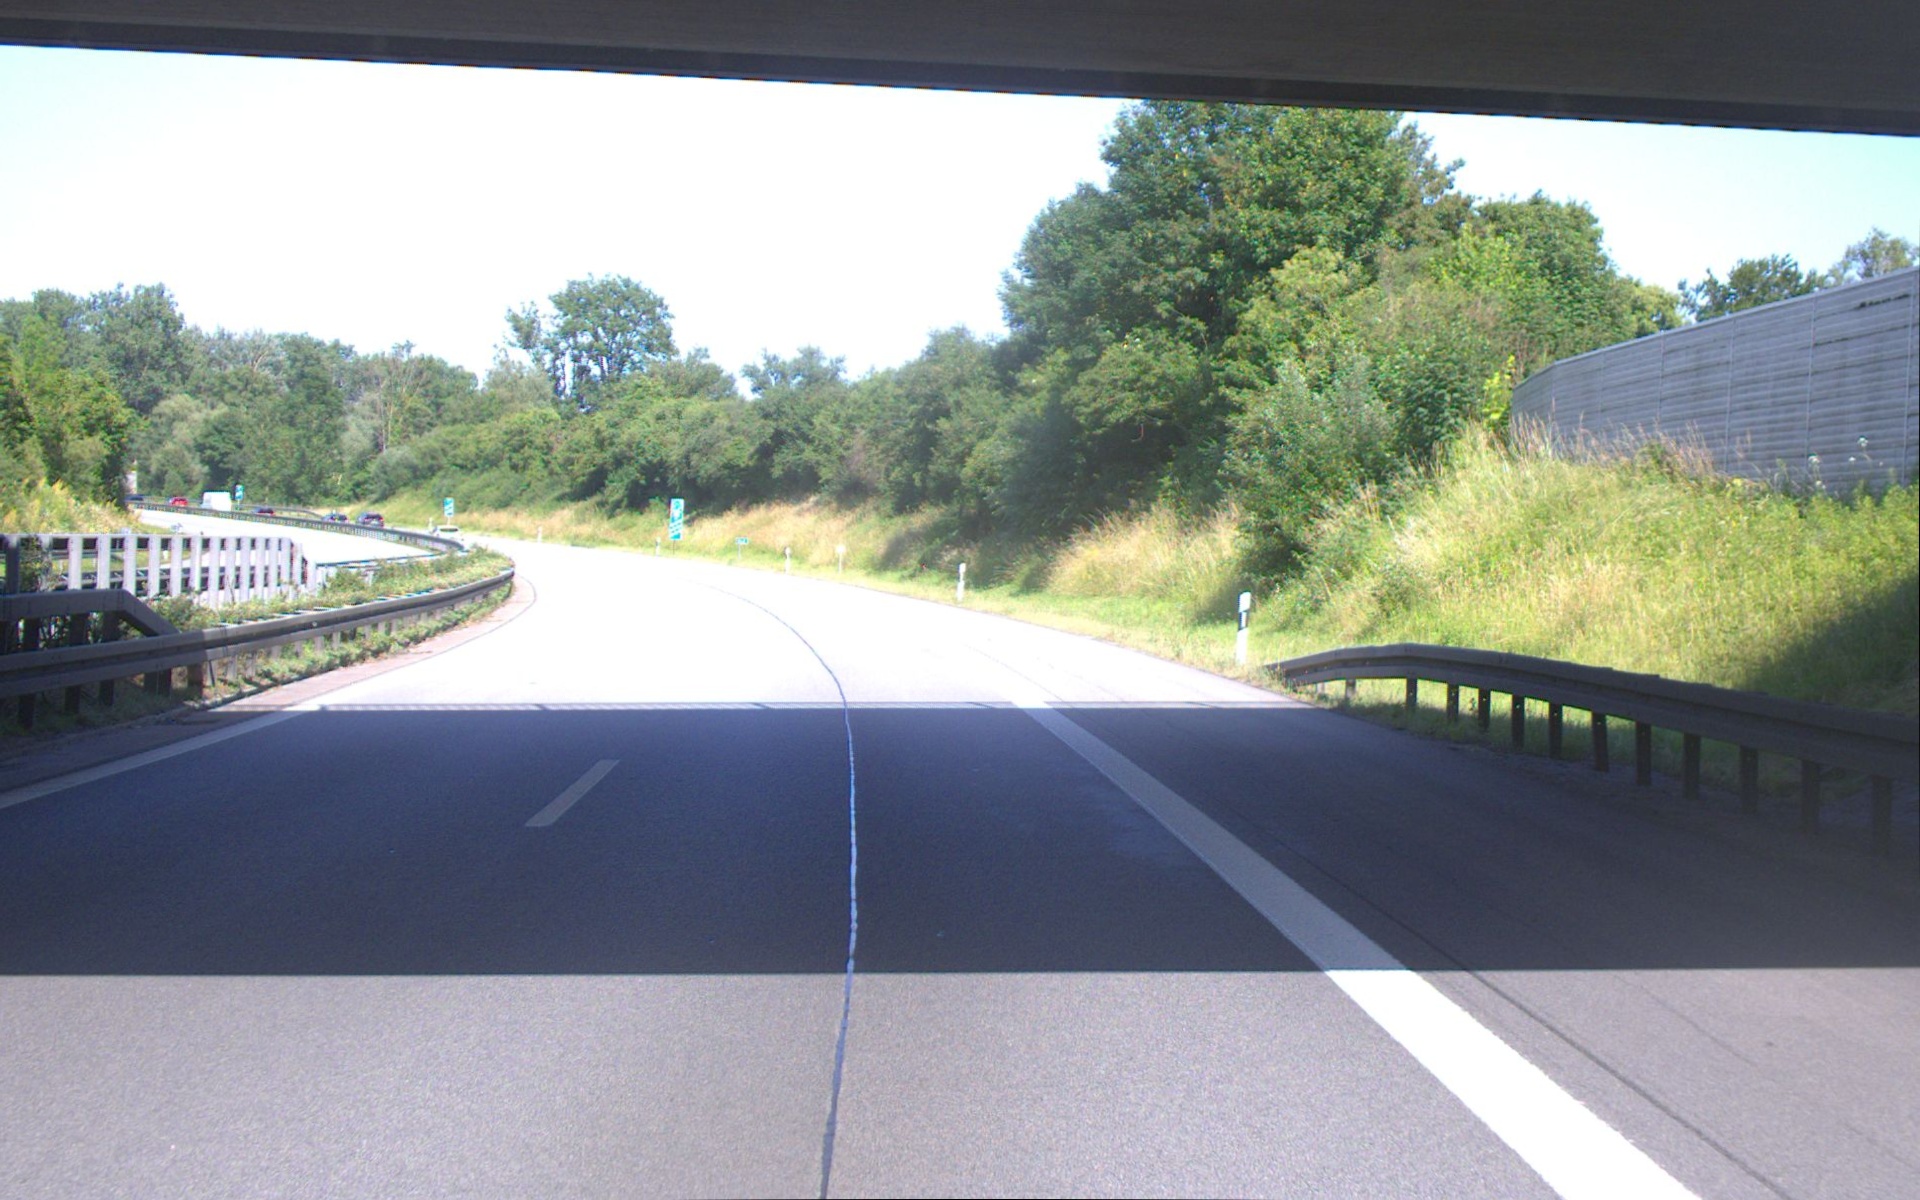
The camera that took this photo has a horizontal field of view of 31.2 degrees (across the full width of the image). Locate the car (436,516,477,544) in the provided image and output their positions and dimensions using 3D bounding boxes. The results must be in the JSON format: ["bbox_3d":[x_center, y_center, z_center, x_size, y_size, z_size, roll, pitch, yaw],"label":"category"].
[{"bbox_3d":[-31.145,-4.307,212.639,2.061,1.619,4.001,1,0,-15],"label":"car"}]
